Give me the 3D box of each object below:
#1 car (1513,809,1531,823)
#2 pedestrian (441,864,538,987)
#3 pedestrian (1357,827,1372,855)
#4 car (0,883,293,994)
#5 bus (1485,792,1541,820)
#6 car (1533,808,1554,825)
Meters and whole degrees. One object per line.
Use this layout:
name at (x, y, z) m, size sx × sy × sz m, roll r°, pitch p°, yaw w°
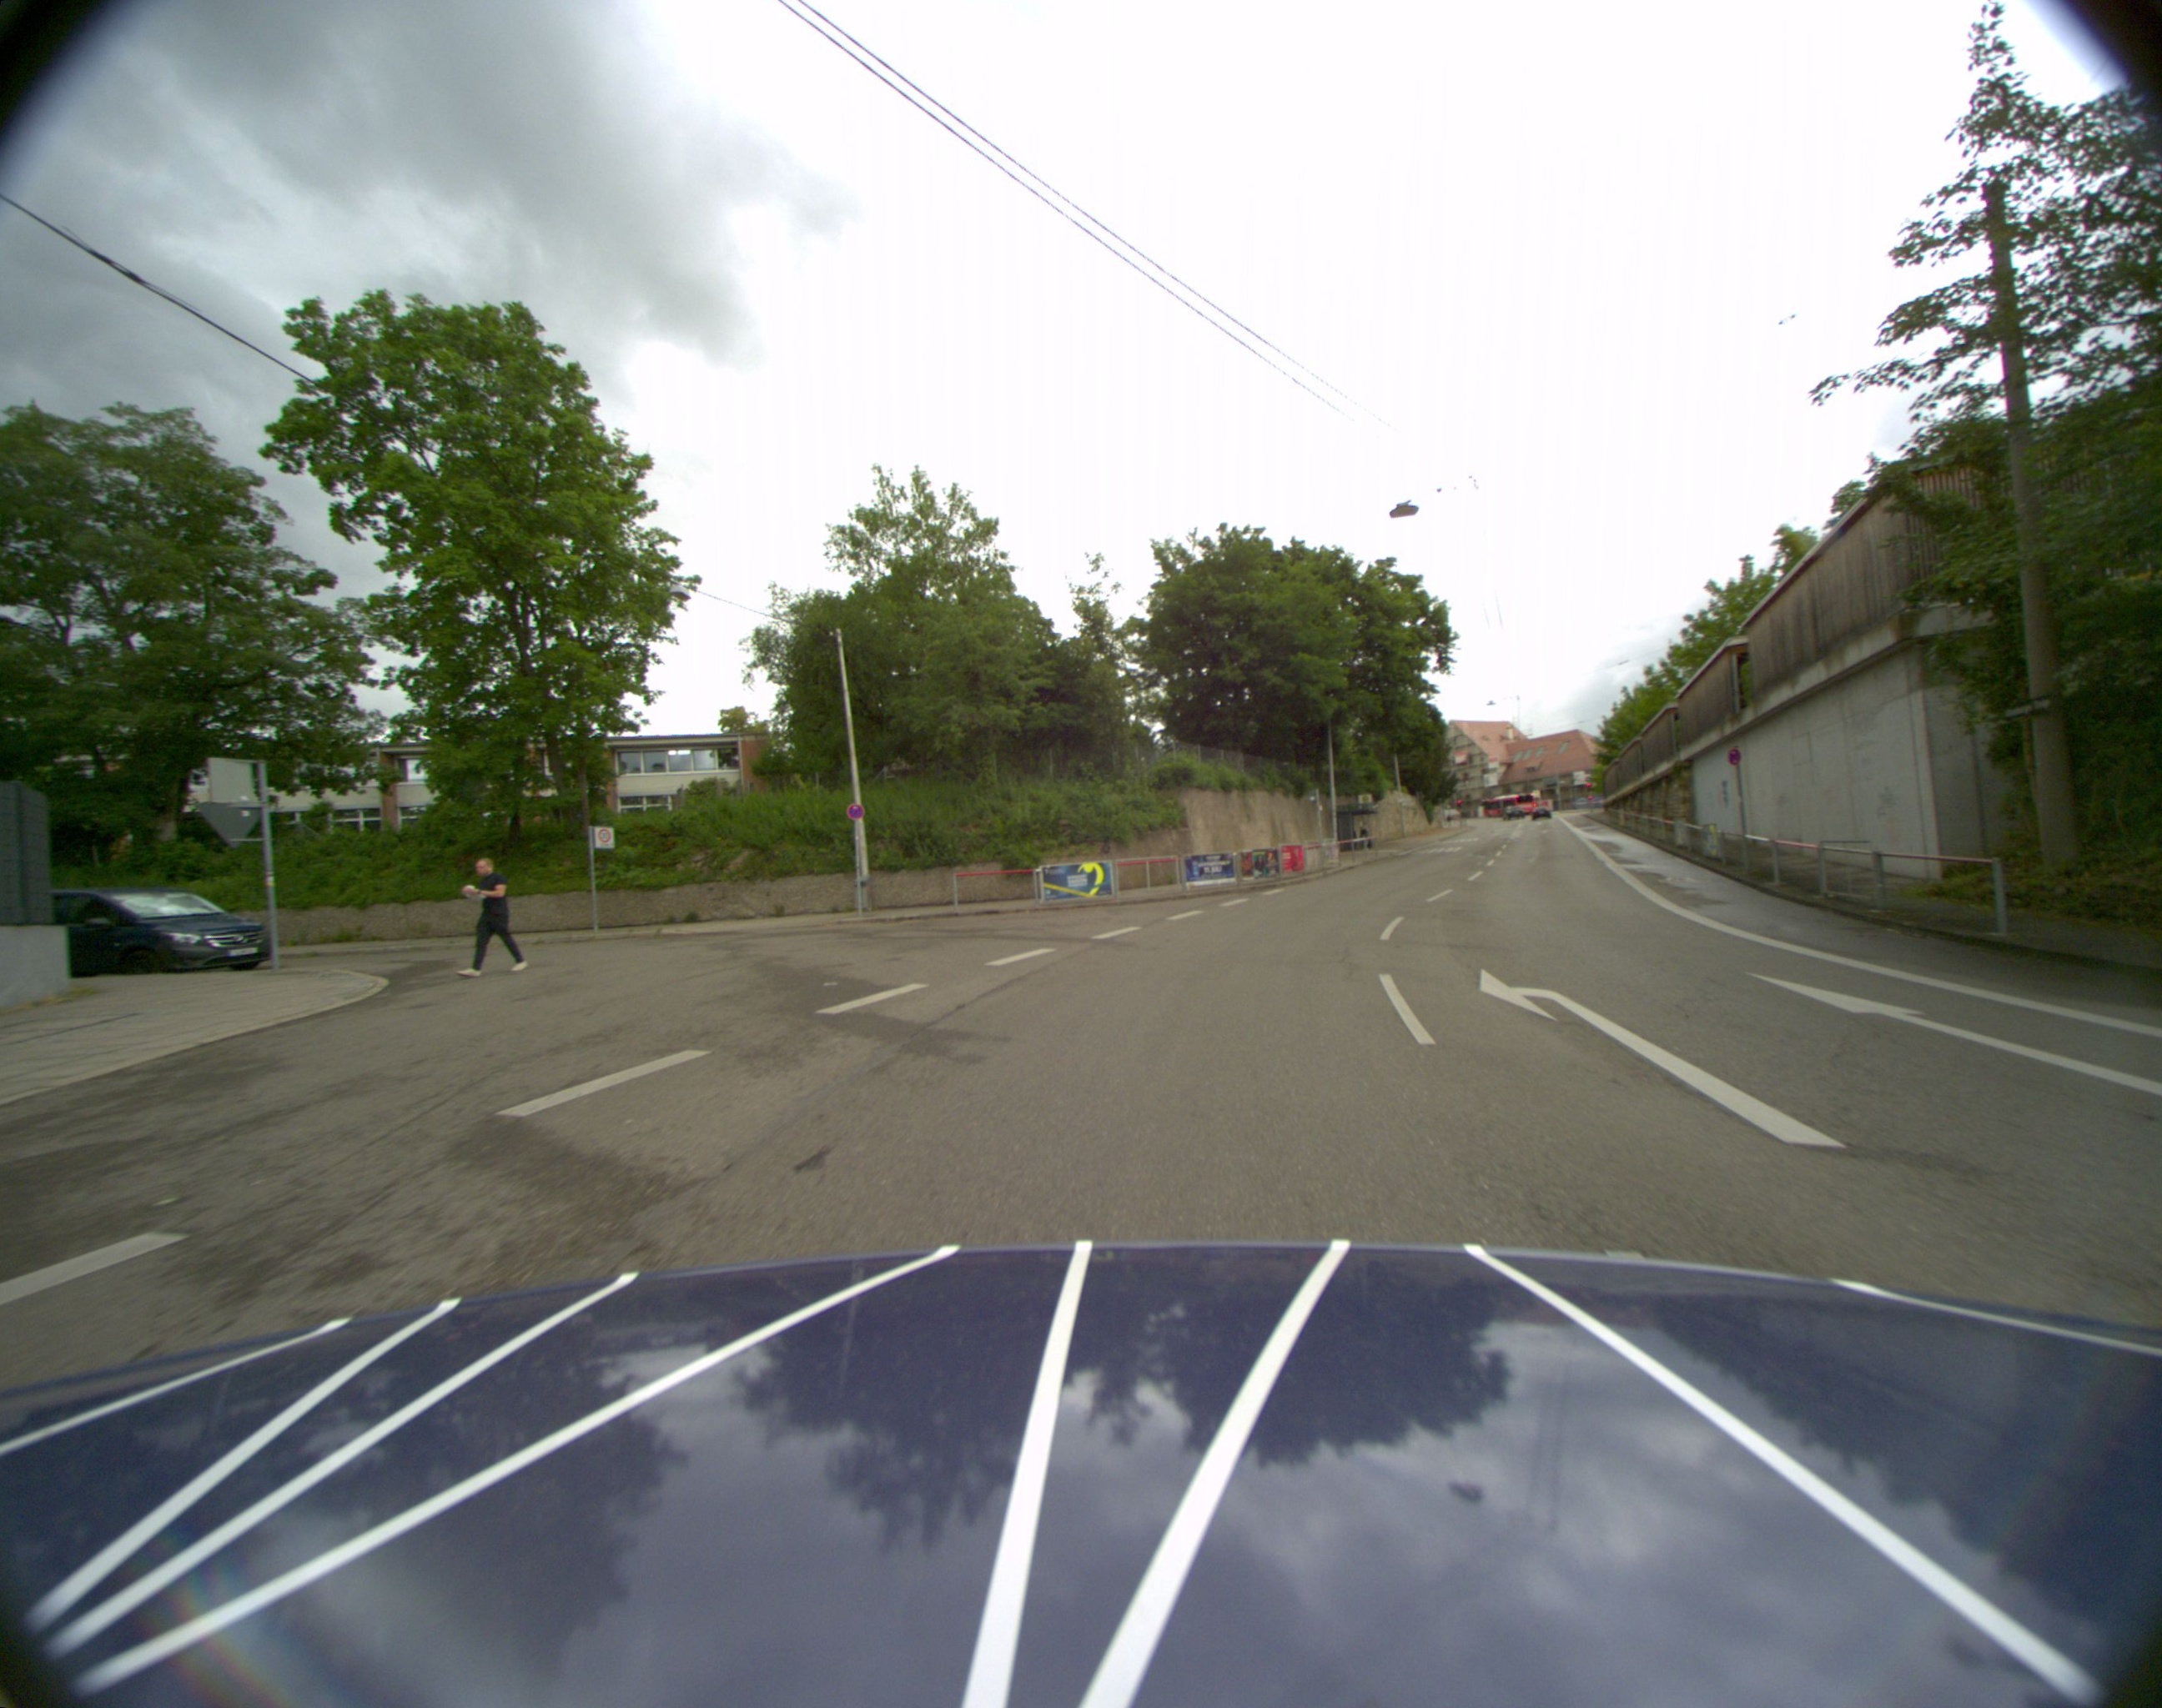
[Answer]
car at (56.628, -4.911, 97.536) m, size 1.852 × 1.706 × 3.887 m, roll -2°, pitch 2°, yaw 31°
pedestrian at (-9.256, 1.084, 11.915) m, size 0.573 × 1.817 × 0.986 m, roll -3°, pitch -1°, yaw 26°
pedestrian at (16.985, -0.762, 45.553) m, size 0.717 × 1.631 × 0.741 m, roll -3°, pitch 2°, yaw 22°
car at (-19.290, 1.671, 15.226) m, size 4.837 × 1.852 × 1.951 m, roll -3°, pitch -1°, yaw -1°
bus at (62.889, -6.888, 110.930) m, size 2.910 × 3.617 × 9.482 m, roll -3°, pitch 1°, yaw 2°
car at (49.967, -4.057, 82.161) m, size 1.852 × 1.706 × 3.887 m, roll -2°, pitch 2°, yaw 31°
